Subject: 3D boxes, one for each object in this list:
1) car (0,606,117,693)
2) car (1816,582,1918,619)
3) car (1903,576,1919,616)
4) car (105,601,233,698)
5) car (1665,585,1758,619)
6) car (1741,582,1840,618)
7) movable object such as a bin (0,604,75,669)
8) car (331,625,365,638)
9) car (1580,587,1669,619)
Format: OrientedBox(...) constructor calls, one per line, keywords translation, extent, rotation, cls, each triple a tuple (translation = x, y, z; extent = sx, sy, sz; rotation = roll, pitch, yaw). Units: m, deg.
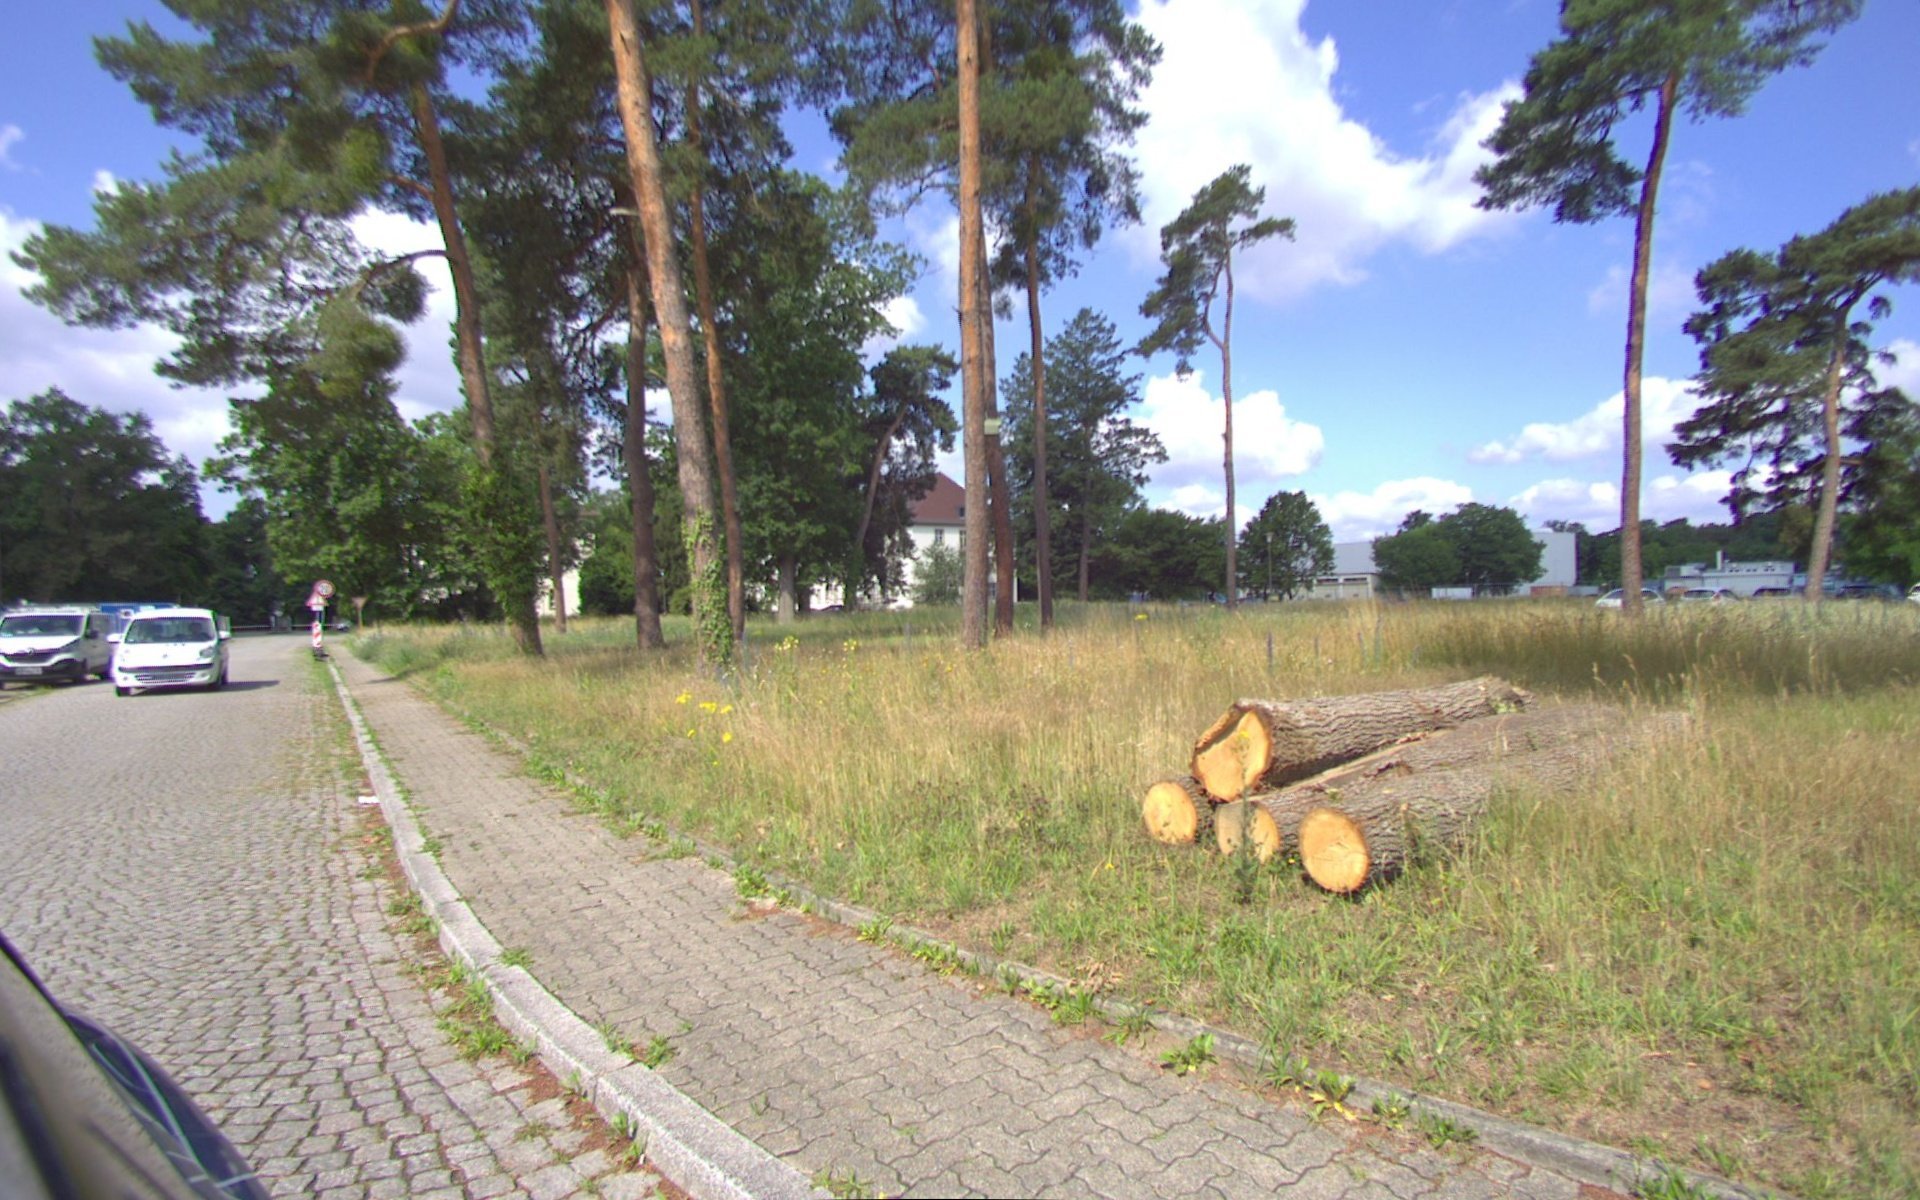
OrientedBox(translation=(-24.249, 1.254, 27.039), extent=(1.888, 2.069, 5.695), rotation=(0, -1, -32), cls="car")
OrientedBox(translation=(33.685, 0.017, 37.567), extent=(4.011, 1.319, 1.906), rotation=(0, -1, -34), cls="car")
OrientedBox(translation=(42.792, -0.202, 43.889), extent=(4.011, 1.715, 1.906), rotation=(0, -1, -34), cls="car")
OrientedBox(translation=(-17.428, 1.083, 22.499), extent=(1.809, 1.883, 4.843), rotation=(-1, -2, -33), cls="car")
OrientedBox(translation=(31.441, 0.076, 42.329), extent=(4.011, 1.349, 1.906), rotation=(0, -1, -34), cls="car")
OrientedBox(translation=(32.607, 0.011, 39.716), extent=(4.011, 1.330, 1.906), rotation=(0, -1, -34), cls="car")
OrientedBox(translation=(-38.504, 1.451, 40.167), extent=(2.117, 2.541, 5.661), rotation=(-1, -2, -5), cls="movable object such as a bin")
OrientedBox(translation=(-85.167, 4.422, 140.872), extent=(4.018, 1.656, 1.772), rotation=(0, -1, -34), cls="car")
OrientedBox(translation=(29.314, 0.130, 44.622), extent=(4.003, 1.359, 1.906), rotation=(0, -1, -34), cls="car")
